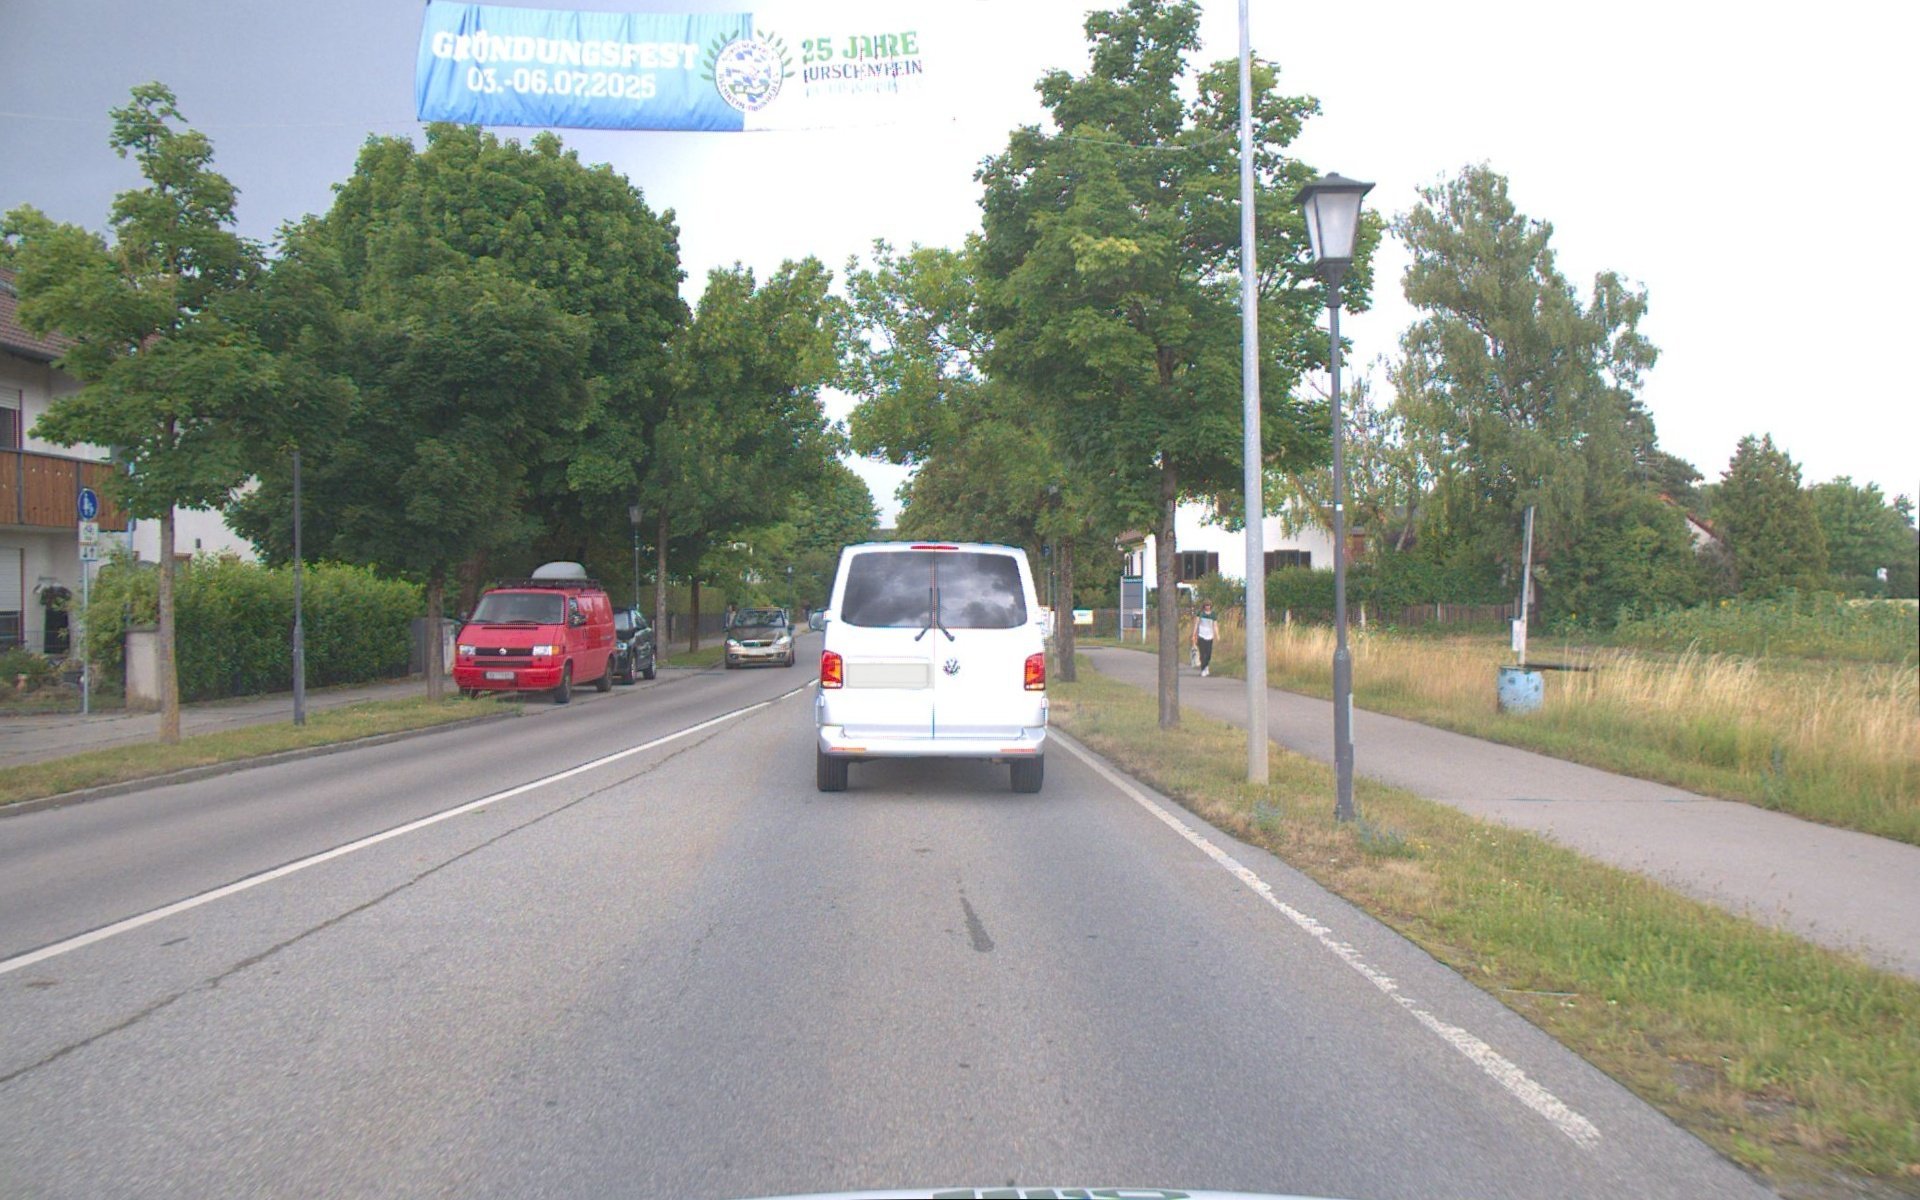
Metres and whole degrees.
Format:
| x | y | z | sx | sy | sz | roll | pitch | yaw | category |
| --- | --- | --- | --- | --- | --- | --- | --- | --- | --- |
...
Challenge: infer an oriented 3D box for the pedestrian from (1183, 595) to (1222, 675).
| x | y | z | sx | sy | sz | roll | pitch | yaw | category |
| --- | --- | --- | --- | --- | --- | --- | --- | --- | --- |
| 5.484 | 0.789 | 37.444 | 0.820 | 1.785 | 0.870 | 0 | -1 | 3 | pedestrian |

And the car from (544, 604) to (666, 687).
| x | y | z | sx | sy | sz | roll | pitch | yaw | category |
| --- | --- | --- | --- | --- | --- | --- | --- | --- | --- |
| -7.453 | 0.911 | 35.080 | 1.736 | 1.626 | 4.237 | 0 | 0 | -1 | car |

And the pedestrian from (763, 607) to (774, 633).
| x | y | z | sx | sy | sz | roll | pitch | yaw | category |
| --- | --- | --- | --- | --- | --- | --- | --- | --- | --- |
| -11.509 | 1.218 | 99.582 | 0.610 | 1.576 | 0.522 | 1 | -1 | -6 | pedestrian |

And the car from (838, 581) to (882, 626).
| x | y | z | sx | sy | sz | roll | pitch | yaw | category |
| --- | --- | --- | --- | --- | --- | --- | --- | --- | --- |
| -4.677 | 0.190 | 77.854 | 1.953 | 2.049 | 3.998 | 1 | -1 | -2 | car |

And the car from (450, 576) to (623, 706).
| x | y | z | sx | sy | sz | roll | pitch | yaw | category |
| --- | --- | --- | --- | --- | --- | --- | --- | --- | --- |
| -7.349 | 0.661 | 29.221 | 1.793 | 2.066 | 5.045 | 1 | 0 | -1 | car |

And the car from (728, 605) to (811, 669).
| x | y | z | sx | sy | sz | roll | pitch | yaw | category |
| --- | --- | --- | --- | --- | --- | --- | --- | --- | --- |
| -5.078 | 0.960 | 44.391 | 1.672 | 1.559 | 3.508 | -2 | 0 | 1 | car |

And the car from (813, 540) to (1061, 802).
| x | y | z | sx | sy | sz | roll | pitch | yaw | category |
| --- | --- | --- | --- | --- | --- | --- | --- | --- | --- |
| -0.240 | 0.549 | 14.354 | 1.850 | 1.945 | 3.998 | 0 | -1 | -2 | car |
